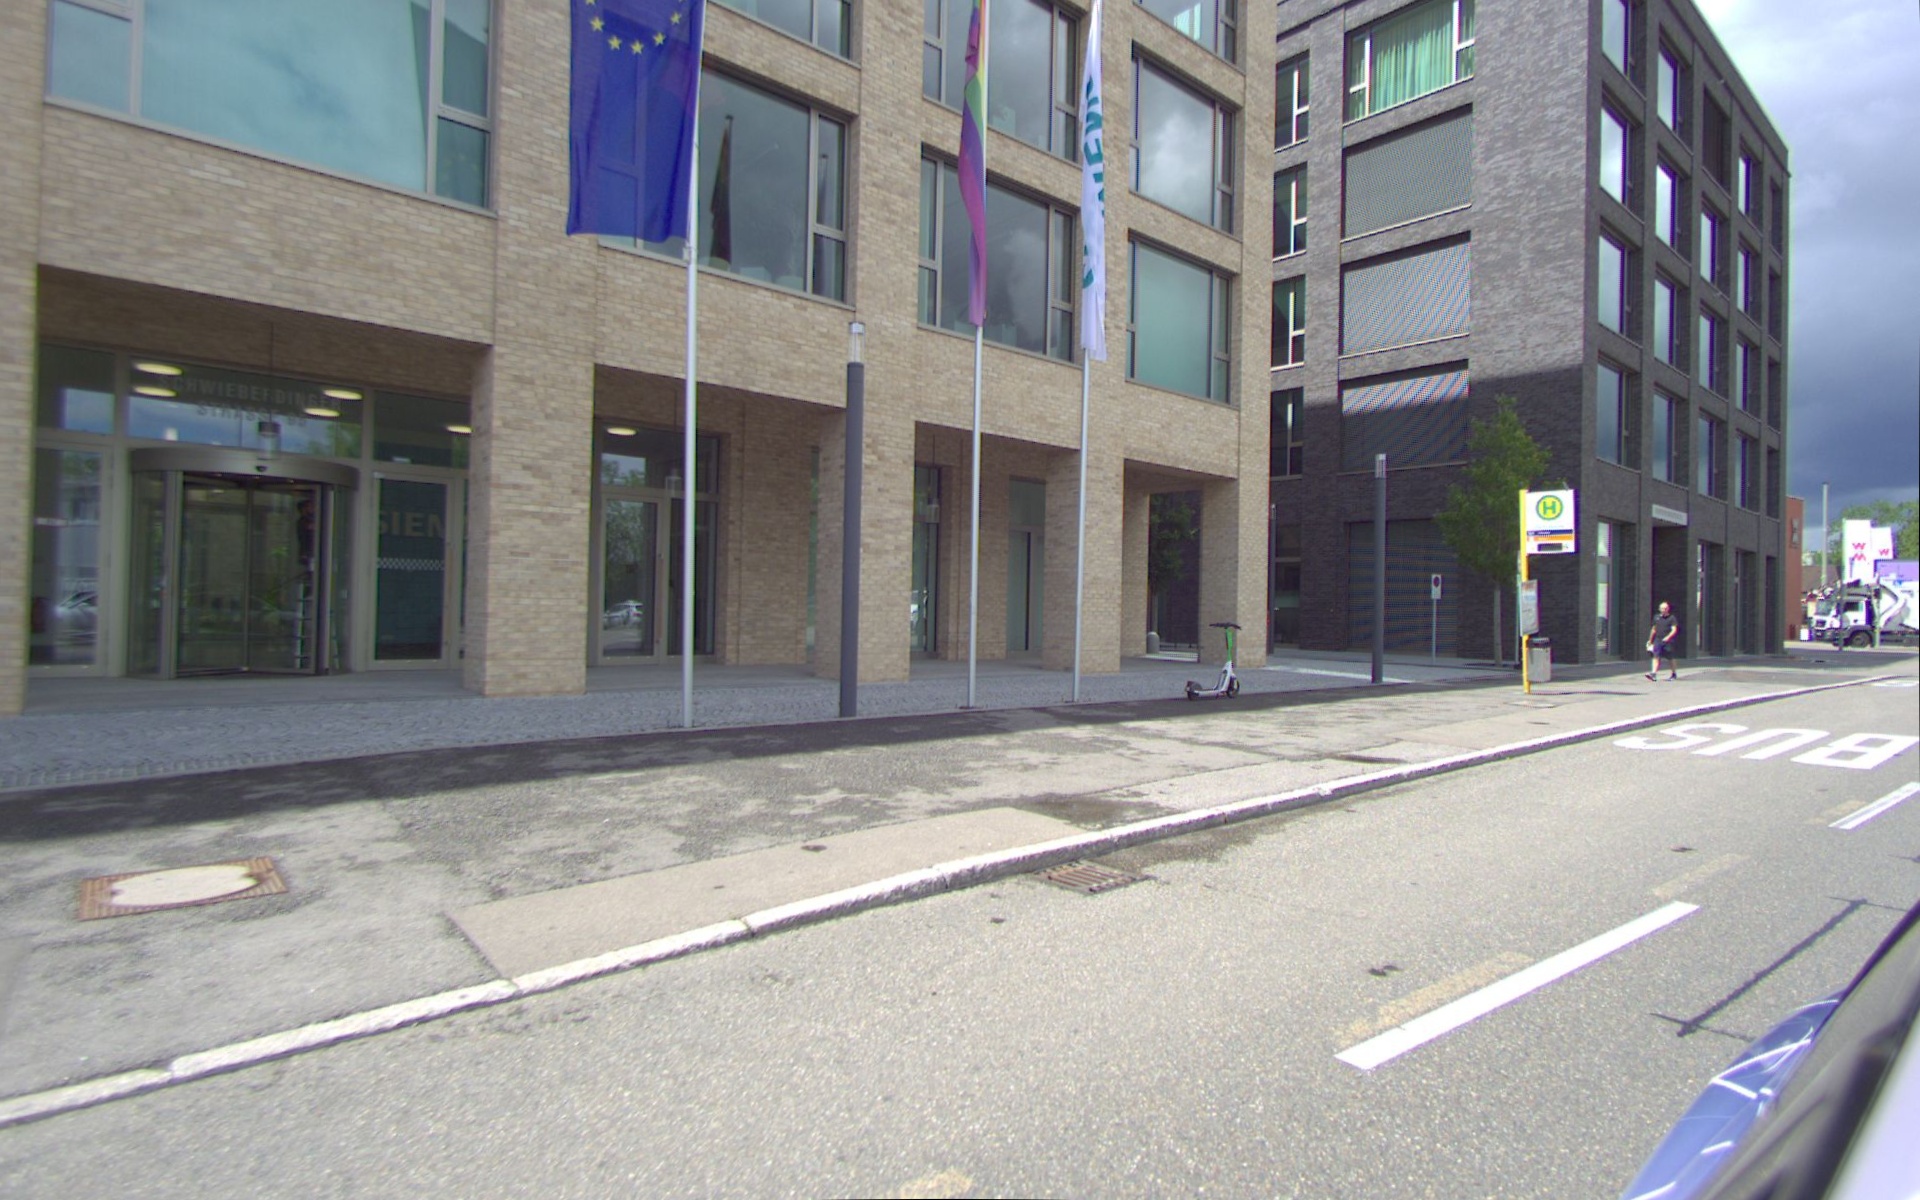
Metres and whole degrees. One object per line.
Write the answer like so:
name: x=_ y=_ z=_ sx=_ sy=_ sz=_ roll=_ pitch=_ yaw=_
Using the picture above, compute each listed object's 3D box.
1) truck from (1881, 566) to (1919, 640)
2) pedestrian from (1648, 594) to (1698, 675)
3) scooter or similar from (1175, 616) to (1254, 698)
truck: x=54.859 y=0.174 z=57.015 sx=10.177 sy=3.961 sz=2.836 roll=0 pitch=1 yaw=-39
pedestrian: x=15.783 y=0.751 z=22.399 sx=0.945 sy=1.750 sz=0.684 roll=1 pitch=-1 yaw=-40
scooter or similar: x=3.859 y=0.835 z=15.282 sx=1.379 sy=1.167 sz=0.428 roll=0 pitch=1 yaw=-41
